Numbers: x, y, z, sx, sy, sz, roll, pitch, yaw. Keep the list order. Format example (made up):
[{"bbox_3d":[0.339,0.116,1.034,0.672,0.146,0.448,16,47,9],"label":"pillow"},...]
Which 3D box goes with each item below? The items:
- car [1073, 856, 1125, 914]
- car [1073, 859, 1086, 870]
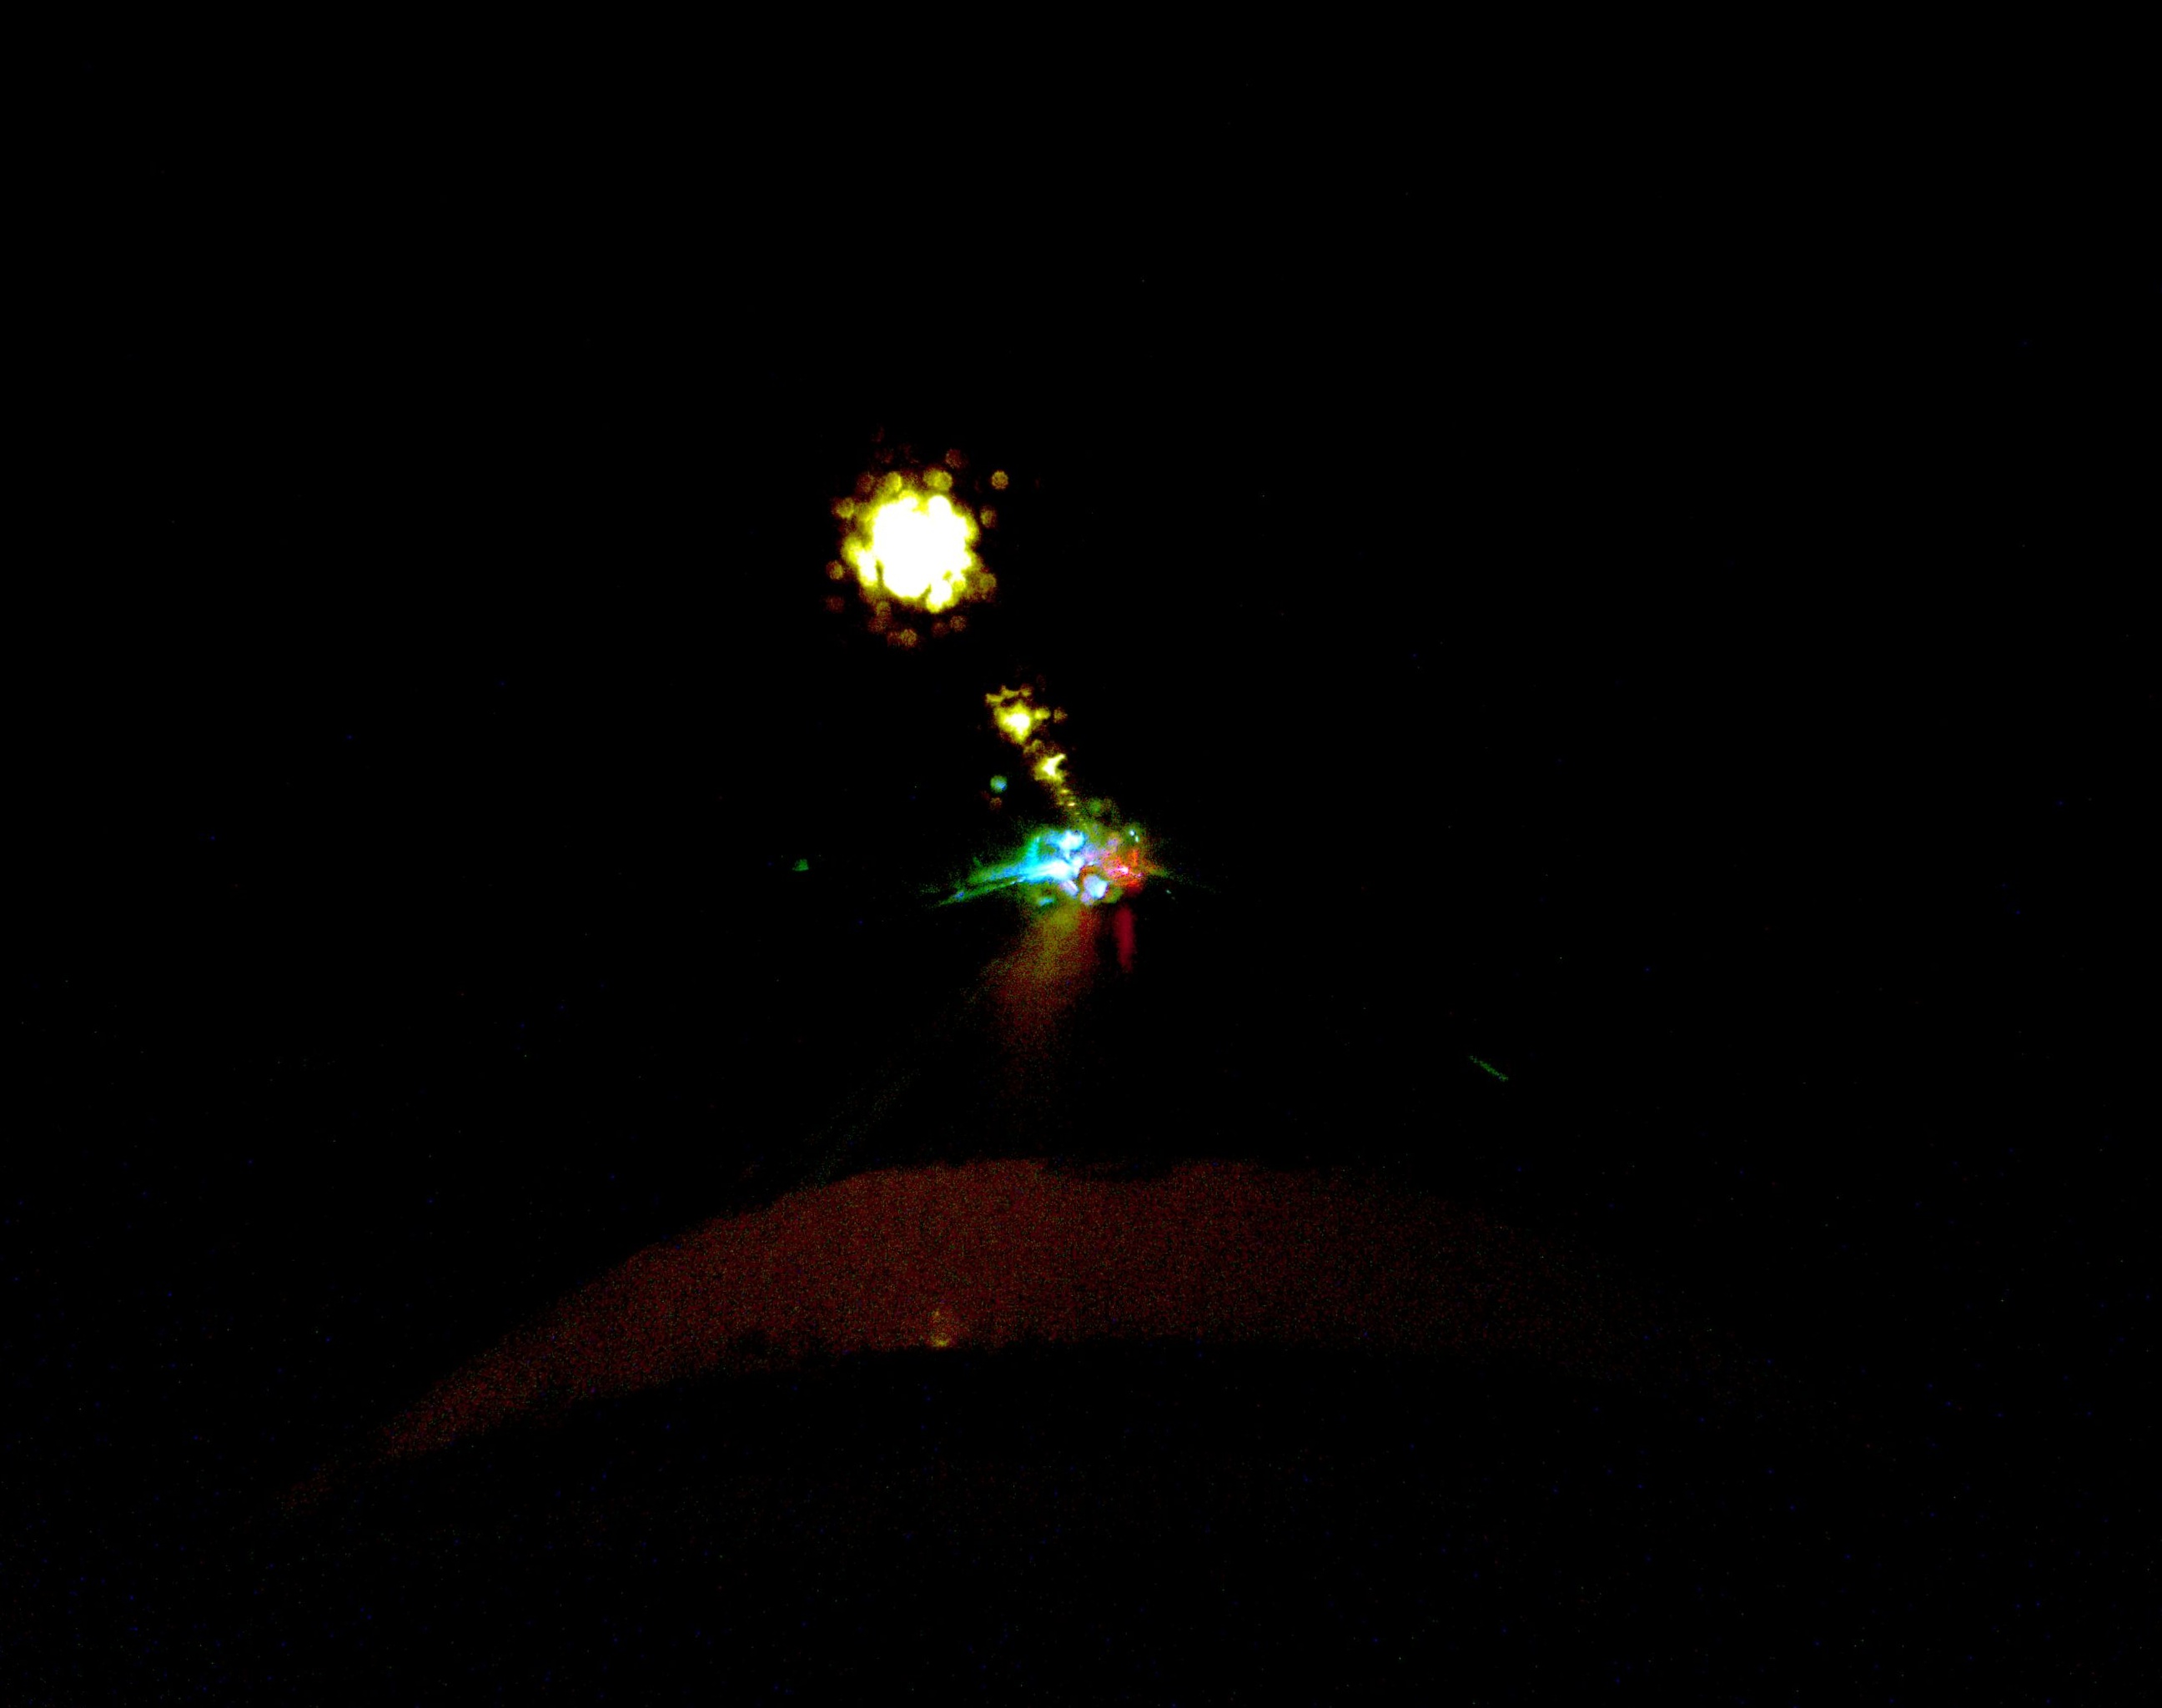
[{"bbox_3d":[0.684,1.008,28.339,1.628,1.757,4.149,-1,1,3],"label":"car"},{"bbox_3d":[-0.156,1.438,111.477,1.771,1.408,4.294,-1,1,0],"label":"car"}]
